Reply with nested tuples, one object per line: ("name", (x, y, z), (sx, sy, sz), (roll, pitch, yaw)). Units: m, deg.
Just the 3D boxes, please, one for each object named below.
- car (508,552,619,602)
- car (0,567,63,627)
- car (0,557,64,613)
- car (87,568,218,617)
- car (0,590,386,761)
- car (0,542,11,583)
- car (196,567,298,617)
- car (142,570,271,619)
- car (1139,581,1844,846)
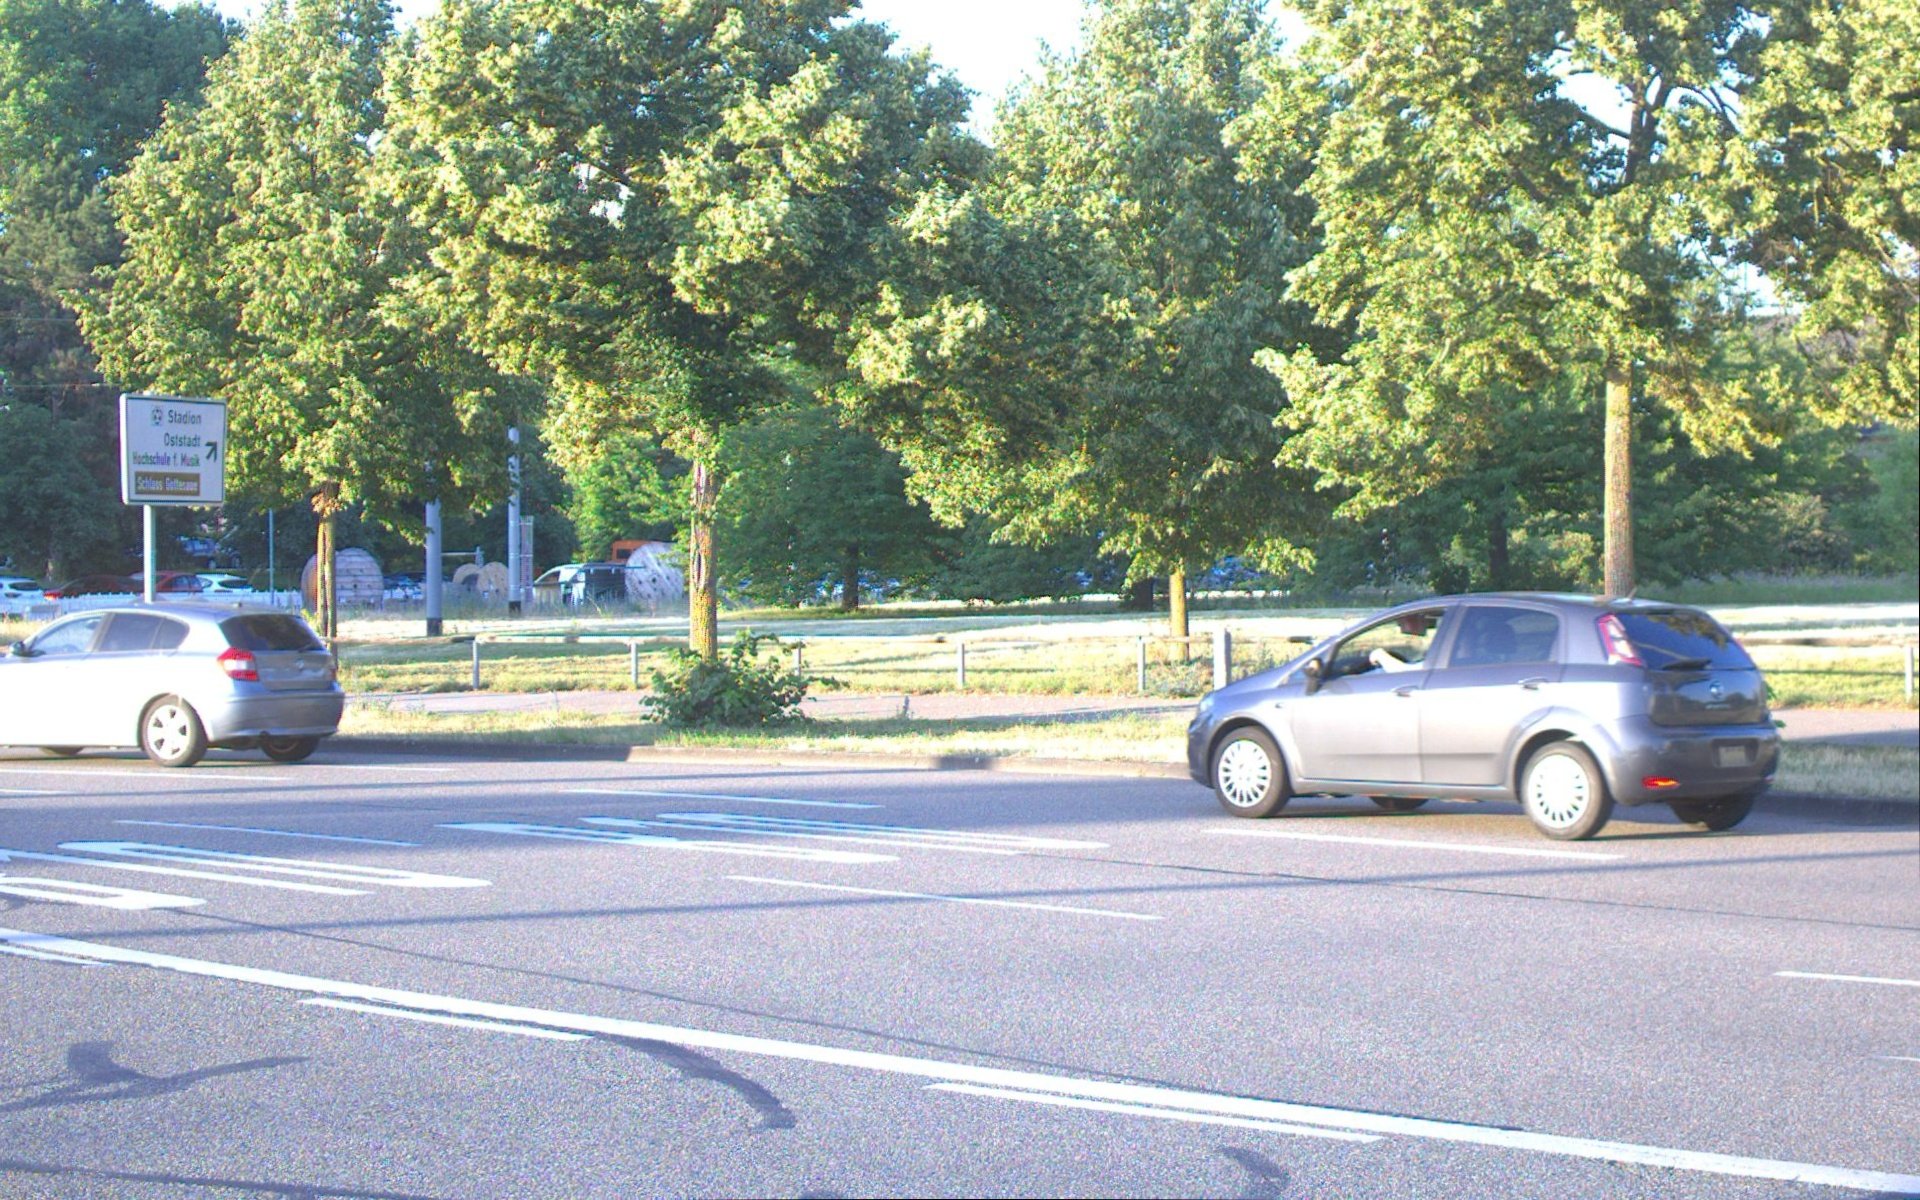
("car", (-13.252, -0.777, 114.890), (1.734, 1.612, 3.998), (-1, 1, -41))
("car", (-33.171, -0.093, 117.679), (4.582, 2.007, 2.001), (-1, 1, -9))
("car", (-35.257, -0.551, 125.812), (4.582, 2.007, 2.001), (-1, 1, -9))
("car", (-26.798, -0.261, 114.101), (3.994, 1.598, 1.996), (0, 1, 33))
("car", (-7.286, 0.622, 30.287), (4.156, 1.385, 1.865), (0, 1, 30))
("car", (-42.439, -1.577, 145.369), (3.988, 1.700, 2.000), (0, 1, 7))
("car", (-26.843, -0.321, 129.310), (1.994, 1.746, 4.597), (-1, 2, -37))
("car", (-25.394, -0.206, 115.831), (3.994, 1.598, 1.996), (0, 1, 33))
("car", (3.294, 0.640, 21.878), (1.863, 1.449, 4.160), (-2, 2, -43))
